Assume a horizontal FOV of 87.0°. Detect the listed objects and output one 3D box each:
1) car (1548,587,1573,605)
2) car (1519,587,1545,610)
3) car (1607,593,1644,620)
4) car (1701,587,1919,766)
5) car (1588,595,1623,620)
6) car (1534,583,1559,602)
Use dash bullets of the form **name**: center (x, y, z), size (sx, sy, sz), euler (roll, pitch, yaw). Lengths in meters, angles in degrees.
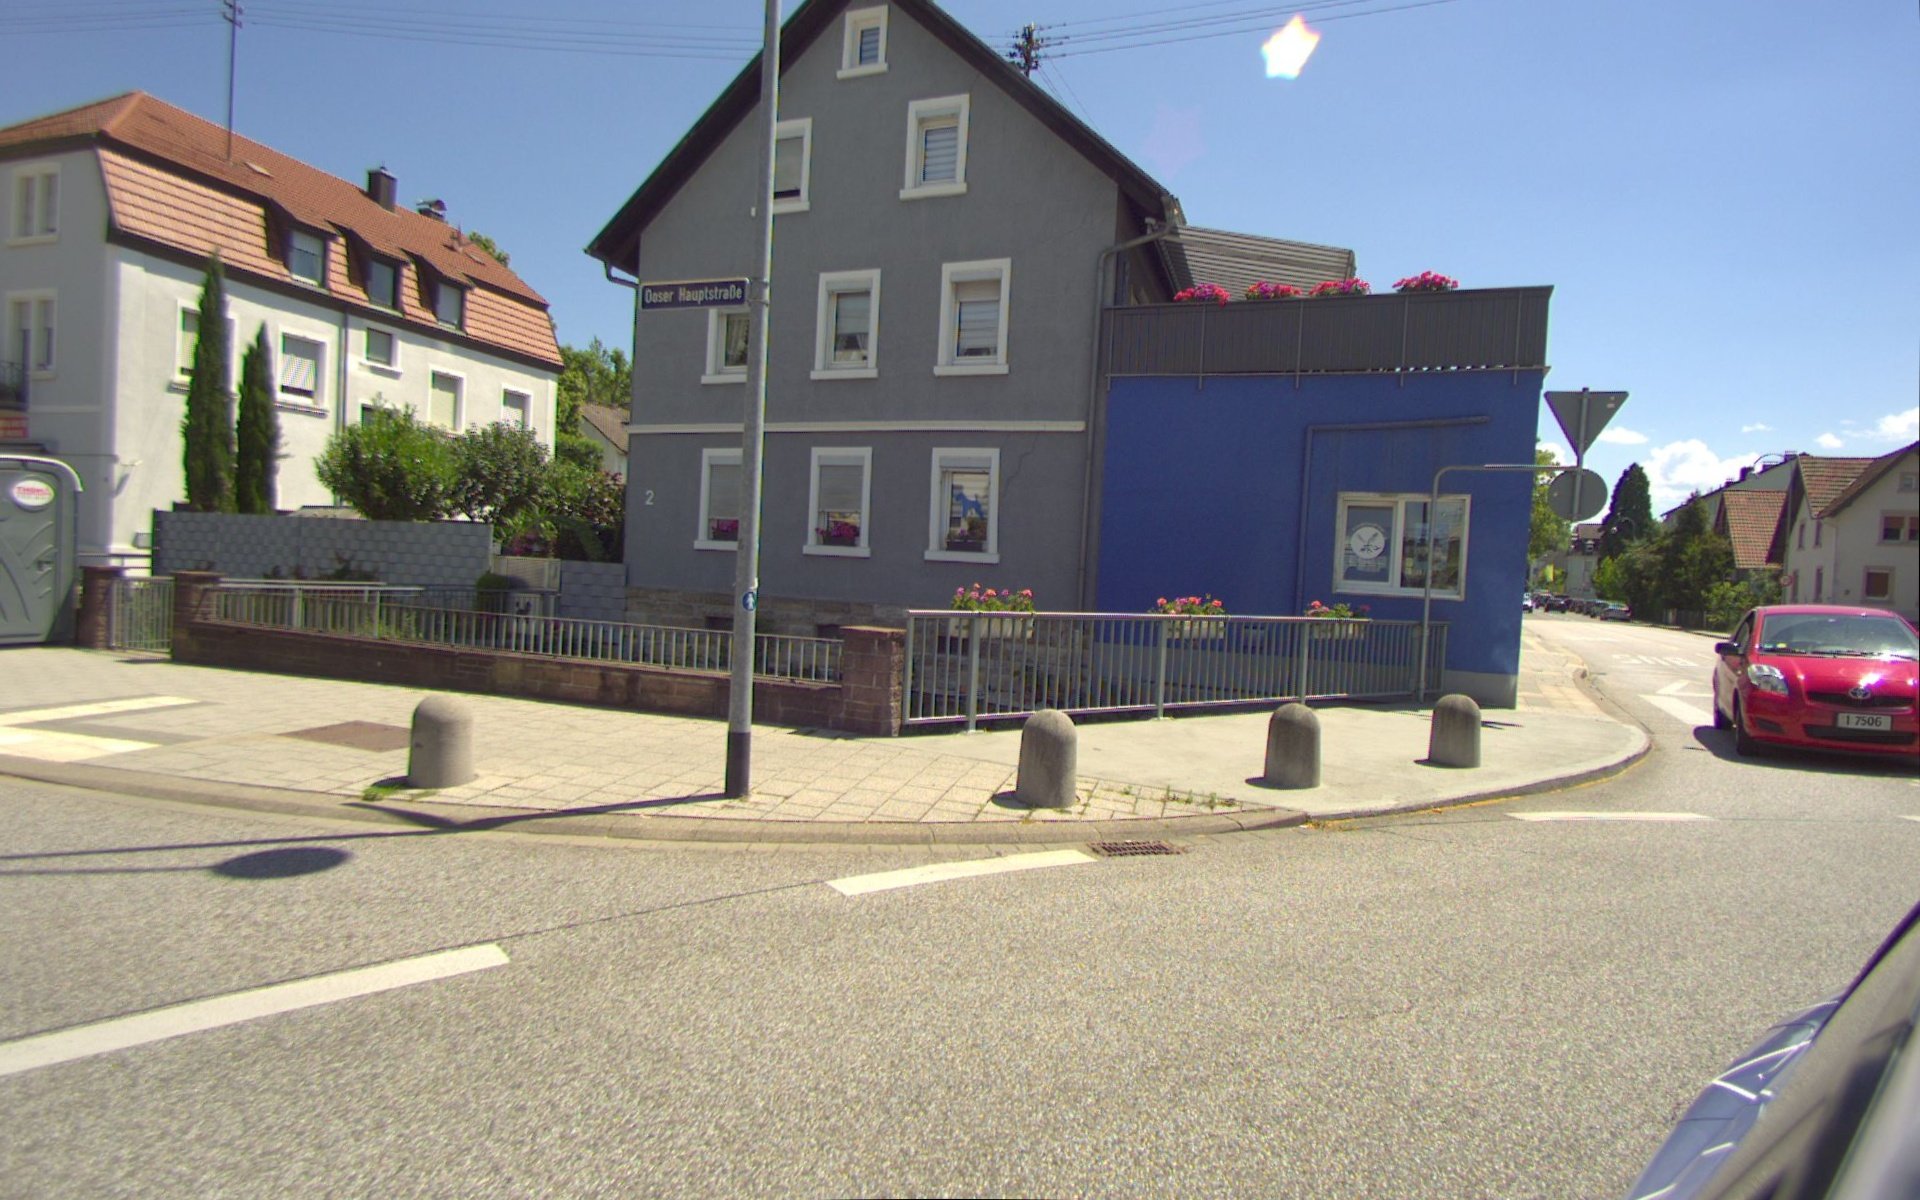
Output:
- **car**: center (63.420, -0.381, 106.980), size (1.721, 1.727, 3.967), euler (2, -1, 24)
- **car**: center (58.872, -0.135, 104.255), size (1.981, 2.038, 3.962), euler (5, 0, 26)
- **car**: center (55.152, 0.564, 83.950), size (1.981, 2.038, 3.962), euler (5, 0, 26)
- **car**: center (9.210, 0.672, 10.679), size (1.819, 1.552, 3.957), euler (1, 0, 30)
- **car**: center (59.762, 0.700, 93.801), size (1.979, 2.038, 3.967), euler (5, 0, 23)
- **car**: center (71.306, -0.933, 123.029), size (1.979, 2.038, 3.967), euler (5, 0, 23)
